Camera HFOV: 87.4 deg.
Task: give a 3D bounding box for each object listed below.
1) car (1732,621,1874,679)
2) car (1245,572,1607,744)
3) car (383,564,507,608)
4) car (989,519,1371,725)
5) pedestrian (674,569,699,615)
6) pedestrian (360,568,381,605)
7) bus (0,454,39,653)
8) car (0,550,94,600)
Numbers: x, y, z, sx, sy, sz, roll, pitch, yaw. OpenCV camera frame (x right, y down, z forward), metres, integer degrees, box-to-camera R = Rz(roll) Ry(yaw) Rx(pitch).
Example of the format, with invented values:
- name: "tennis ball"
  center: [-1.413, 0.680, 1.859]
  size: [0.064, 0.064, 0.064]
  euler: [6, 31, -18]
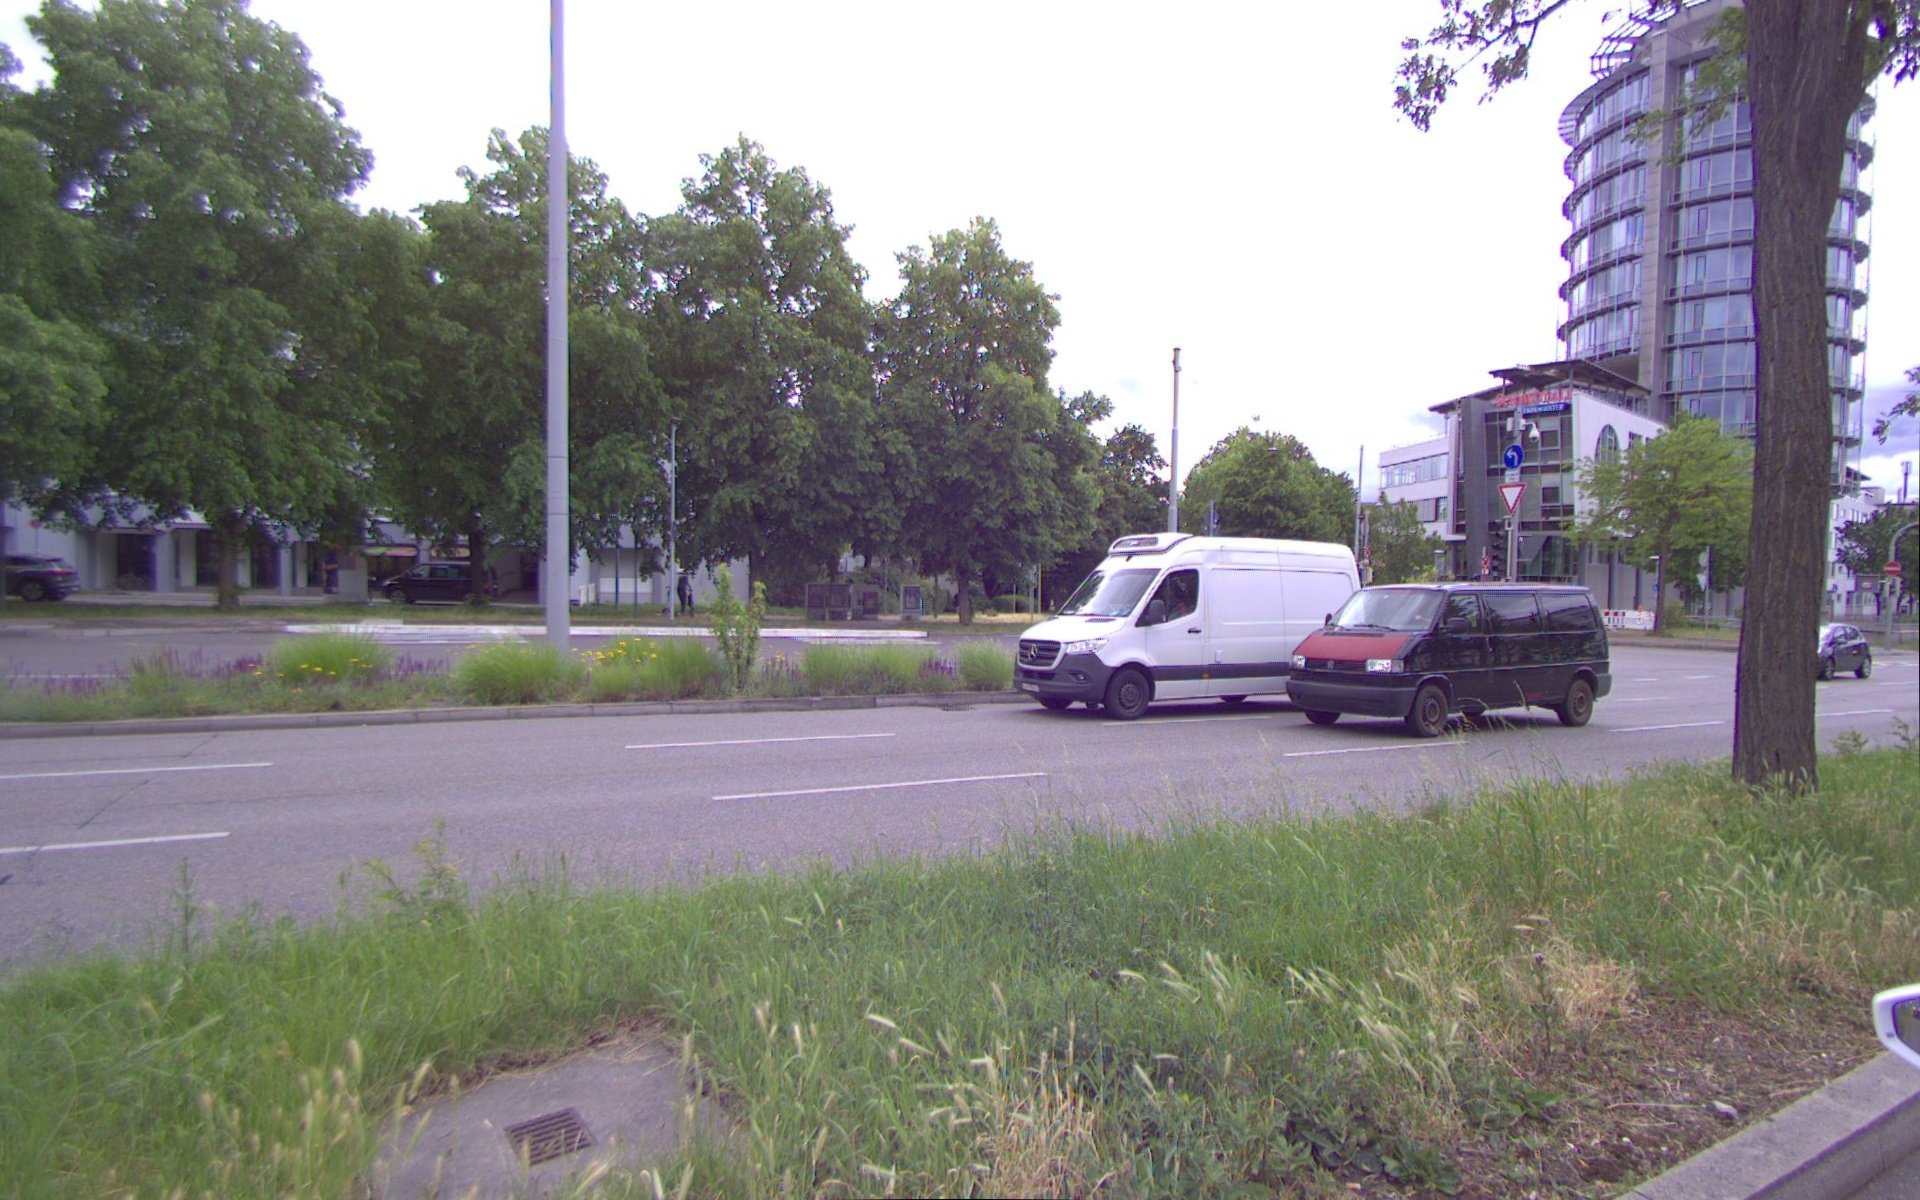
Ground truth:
- name: "car"
  center: [22.559, 1.301, 26.867]
  size: [3.972, 1.438, 1.699]
  euler: [1, 0, -31]
- name: "car"
  center: [6.326, 0.685, 13.474]
  size: [4.915, 1.943, 1.926]
  euler: [1, 1, -30]
- name: "car"
  center: [-23.583, -0.649, 46.186]
  size: [4.736, 1.857, 1.994]
  euler: [1, 1, -15]
- name: "car"
  center: [3.446, 0.313, 15.304]
  size: [5.803, 2.669, 1.985]
  euler: [1, 1, -29]
- name: "pedestrian"
  center: [-10.505, -0.305, 38.584]
  size: [0.847, 1.711, 0.453]
  euler: [1, 1, -30]
- name: "pedestrian"
  center: [-25.421, -0.601, 43.344]
  size: [0.658, 1.568, 0.656]
  euler: [1, 1, -21]
- name: "bus"
  center: [-21.353, -0.914, 15.674]
  size: [9.778, 3.502, 3.021]
  euler: [1, 2, -26]
- name: "car"
  center: [-32.008, -0.849, 33.575]
  size: [4.190, 1.602, 1.987]
  euler: [1, 1, -25]
